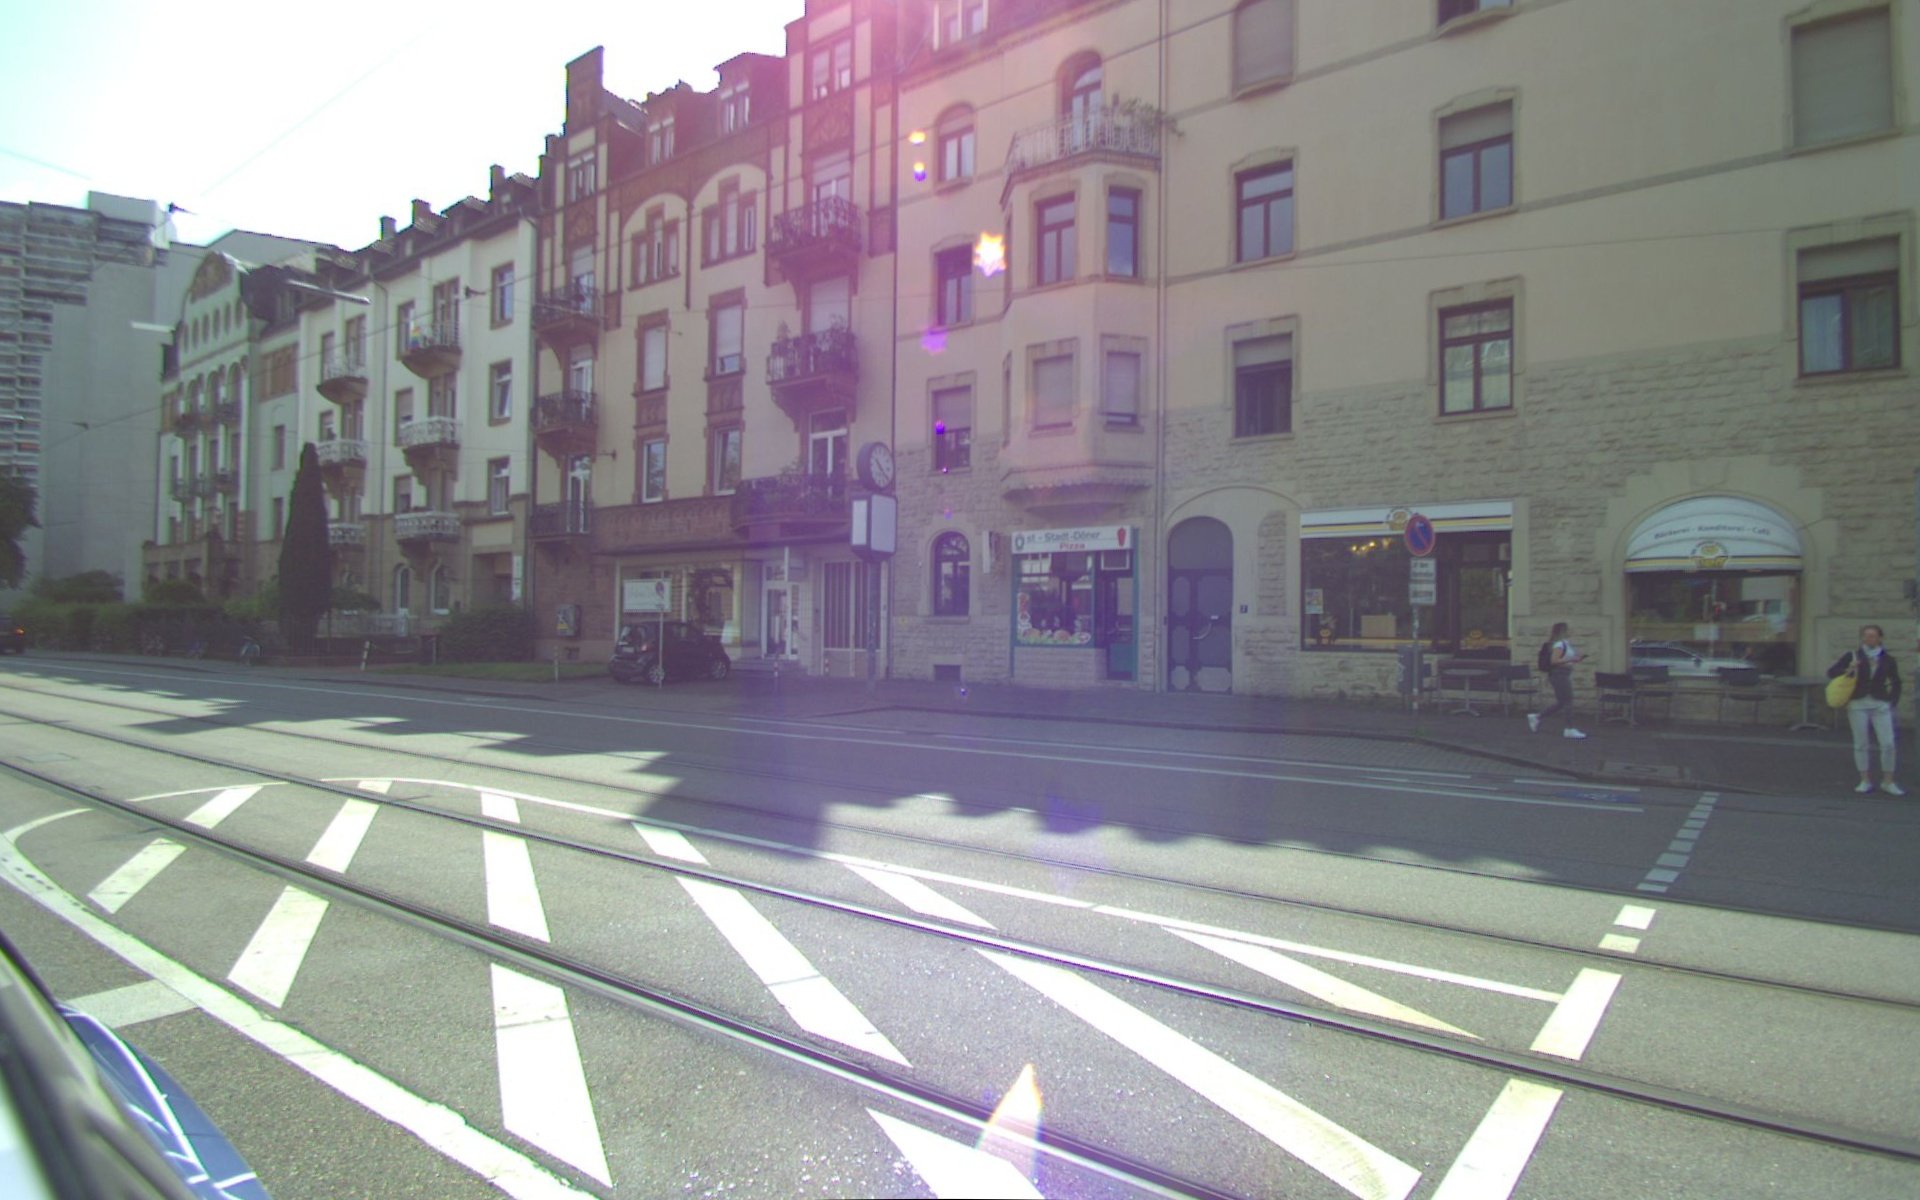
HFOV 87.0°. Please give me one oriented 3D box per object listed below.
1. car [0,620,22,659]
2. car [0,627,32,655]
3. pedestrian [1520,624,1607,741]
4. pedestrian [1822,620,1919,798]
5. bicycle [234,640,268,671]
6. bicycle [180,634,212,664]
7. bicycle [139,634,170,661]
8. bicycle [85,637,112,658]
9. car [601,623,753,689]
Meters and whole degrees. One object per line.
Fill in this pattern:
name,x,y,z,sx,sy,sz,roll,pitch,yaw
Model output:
car,-43.535,1.743,45.035,4.322,1.724,1.775,-1,-3,36
car,-54.848,2.292,56.818,1.632,1.547,3.842,-1,-3,38
pedestrian,8.485,1.134,14.258,0.958,1.553,0.690,-1,1,25
pedestrian,9.542,1.091,10.456,0.872,1.717,0.750,-1,1,36
bicycle,-23.644,1.833,33.723,2.067,0.913,0.517,1,-1,44
bicycle,-28.117,1.776,37.219,1.872,1.037,0.533,0,-2,41
bicycle,-31.643,1.845,39.756,1.872,0.993,0.580,0,-2,41
bicycle,-36.756,2.026,43.166,1.872,0.803,0.580,0,0,41
car,-7.144,1.370,25.759,1.704,1.497,3.412,-1,-1,37
